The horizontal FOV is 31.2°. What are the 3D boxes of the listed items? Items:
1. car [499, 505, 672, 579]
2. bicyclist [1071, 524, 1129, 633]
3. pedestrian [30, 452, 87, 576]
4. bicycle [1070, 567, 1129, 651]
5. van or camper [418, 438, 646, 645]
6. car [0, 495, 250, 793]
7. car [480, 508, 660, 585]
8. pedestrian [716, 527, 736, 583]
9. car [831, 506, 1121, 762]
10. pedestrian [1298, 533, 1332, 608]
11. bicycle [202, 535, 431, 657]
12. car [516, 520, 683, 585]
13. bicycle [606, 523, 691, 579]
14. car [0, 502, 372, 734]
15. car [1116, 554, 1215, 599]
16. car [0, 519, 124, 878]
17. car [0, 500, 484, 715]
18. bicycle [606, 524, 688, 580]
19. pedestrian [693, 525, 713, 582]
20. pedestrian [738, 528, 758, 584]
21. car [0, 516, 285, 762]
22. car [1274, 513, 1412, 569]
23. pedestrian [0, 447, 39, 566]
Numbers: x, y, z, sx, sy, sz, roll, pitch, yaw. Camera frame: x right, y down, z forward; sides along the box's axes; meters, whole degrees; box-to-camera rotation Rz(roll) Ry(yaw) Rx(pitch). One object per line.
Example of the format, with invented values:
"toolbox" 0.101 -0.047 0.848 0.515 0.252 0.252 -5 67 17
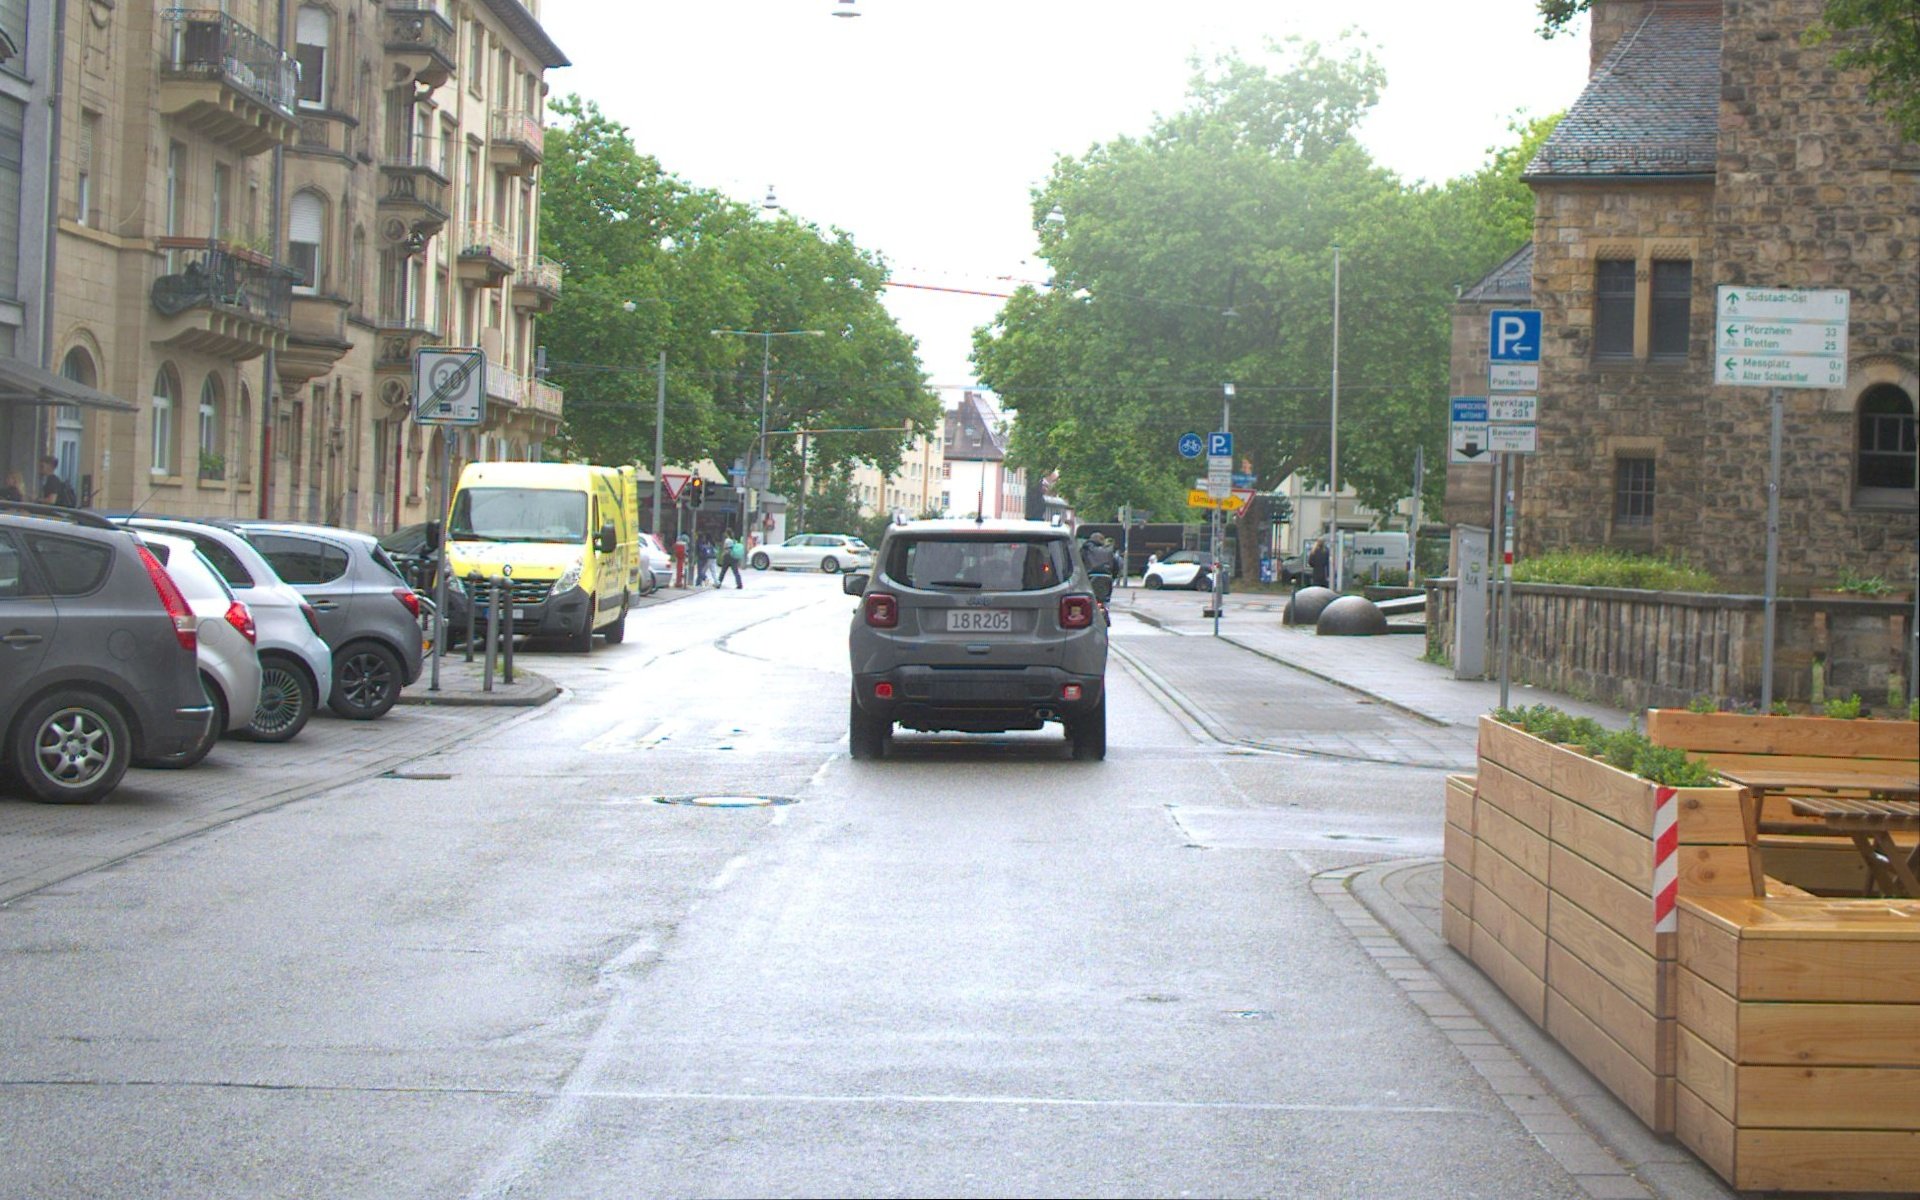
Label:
"car" -9.049 -1.403 83.162 3.729 1.553 1.672 3 1 -33
"bicyclist" 1.841 -0.296 45.265 0.705 1.399 1.171 1 1 1
"pedestrian" -12.908 -1.230 49.226 0.660 1.751 0.797 1 1 -23
"bicycle" 1.829 0.104 45.272 0.705 1.050 1.813 1 1 1
"van or camper" -5.644 -0.682 46.268 2.121 2.522 6.874 -2 -1 0
"car" -5.713 0.185 18.281 3.375 1.536 1.681 2 1 -30
"car" -8.781 -1.205 77.424 3.496 1.513 1.886 3 1 -33
"pedestrian" -6.626 -1.278 97.373 0.467 1.580 0.752 2 1 0
"car" 0.086 0.192 25.253 1.898 1.665 4.506 1 1 -1
"pedestrian" 8.100 -0.674 78.445 0.691 1.705 0.684 1 1 1
"bicycle" -6.477 -0.045 34.652 2.132 1.093 0.594 3 1 1
"car" -8.441 -1.121 80.534 3.413 1.311 1.779 3 1 -33
"bicycle" -8.147 -1.281 89.949 2.109 1.439 0.539 1 1 -19
"car" -6.005 0.100 23.835 3.375 1.502 1.681 2 1 -30
"car" 7.242 -0.826 121.180 3.190 1.495 1.540 1 1 18
"car" -6.268 0.246 14.939 4.510 1.534 2.338 5 -1 -32
"car" -5.875 0.047 26.616 3.818 1.502 1.989 2 1 -30
"bicycle" -8.280 -1.272 90.944 2.092 1.439 0.491 1 1 -19
"pedestrian" -7.227 -1.307 96.574 0.467 1.580 0.659 2 1 0
"pedestrian" -6.005 -1.254 97.444 0.467 1.580 0.752 2 1 0
"car" -6.094 0.204 21.148 3.375 1.453 1.681 2 1 -33
"car" 16.877 -2.625 151.722 5.905 2.326 2.059 1 1 4
"pedestrian" -13.529 -1.331 48.959 0.660 1.669 0.797 1 1 -23
